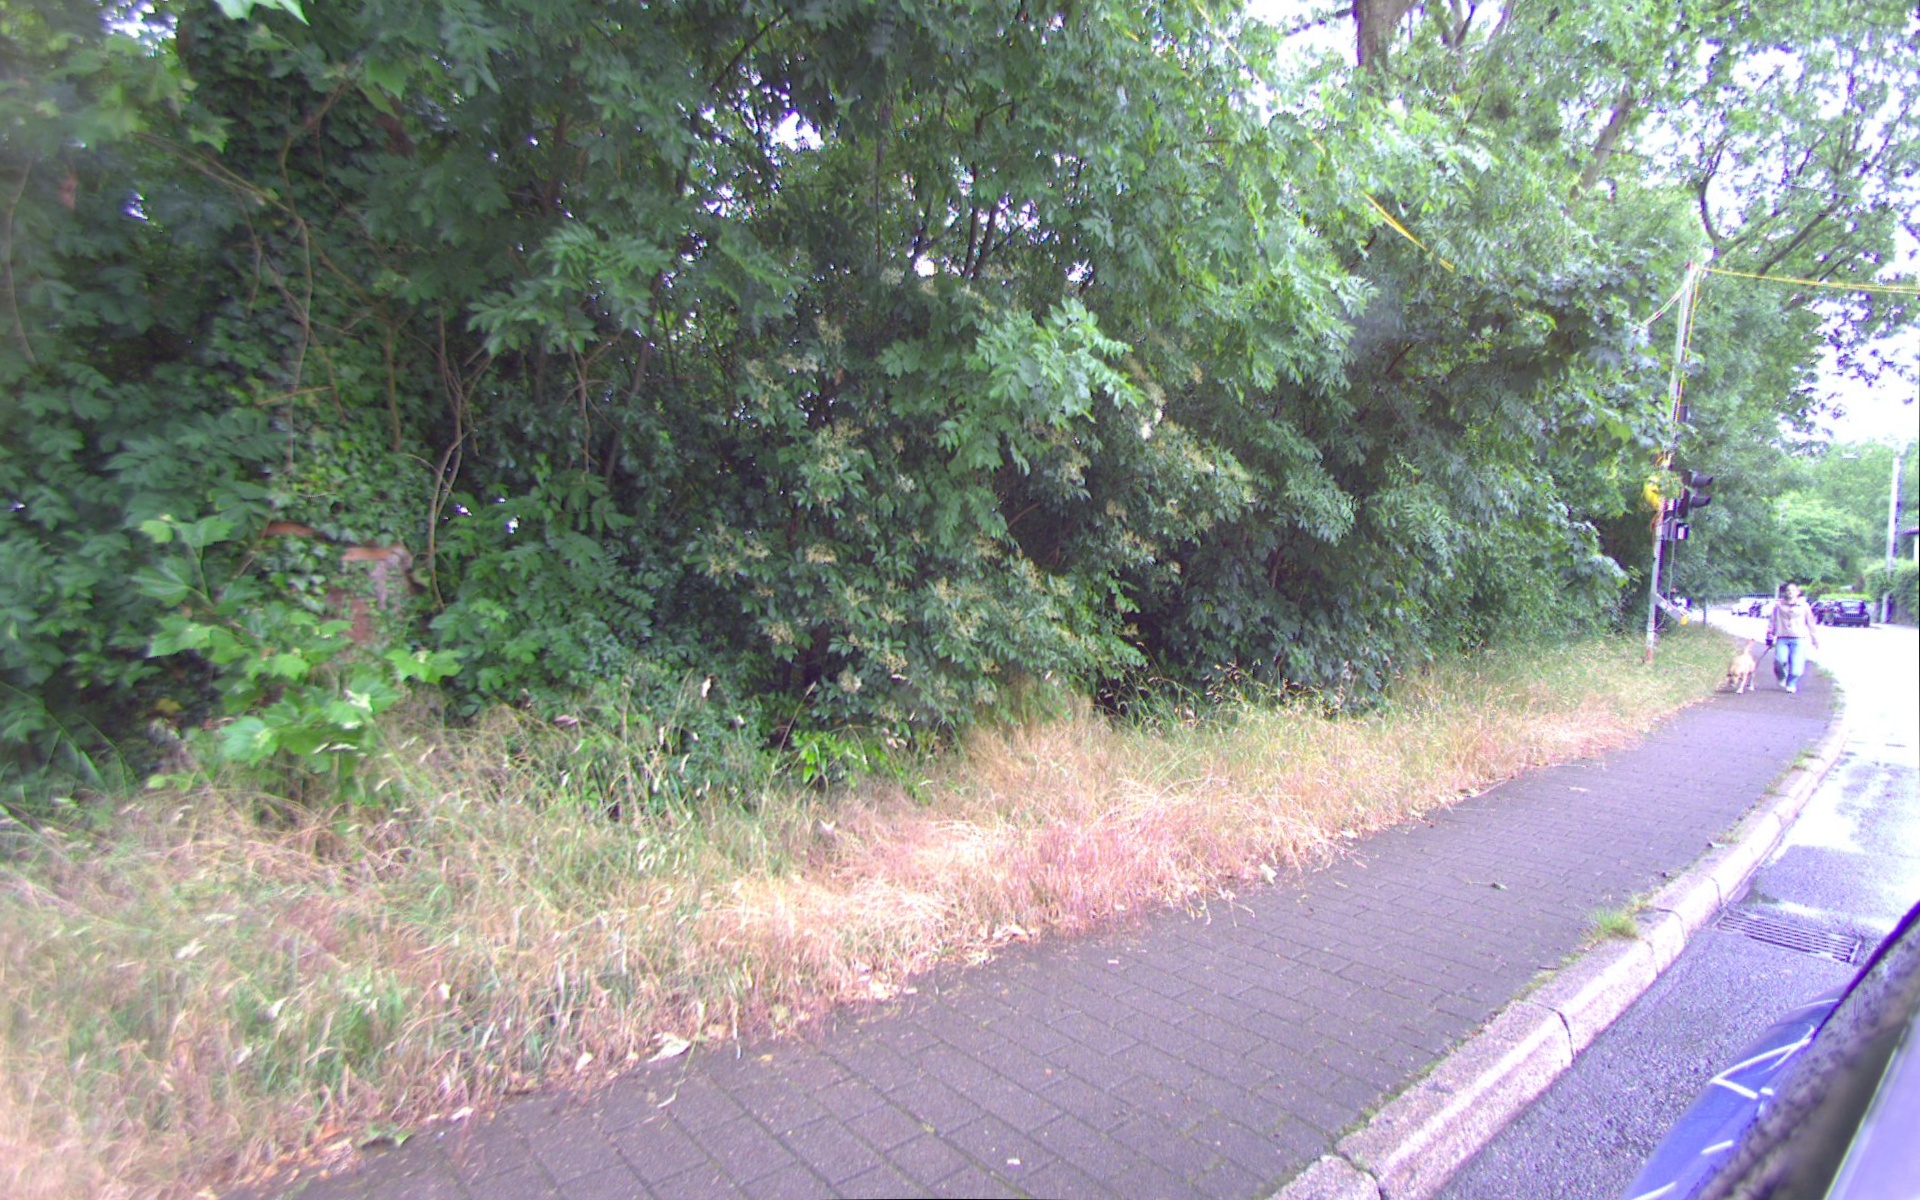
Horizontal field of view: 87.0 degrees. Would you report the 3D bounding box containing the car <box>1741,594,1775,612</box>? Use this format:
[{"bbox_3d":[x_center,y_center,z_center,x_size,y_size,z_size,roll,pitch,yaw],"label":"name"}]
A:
[{"bbox_3d":[64.932,0.215,82.372,1.676,1.445,3.734,1,1,31],"label":"car"}]

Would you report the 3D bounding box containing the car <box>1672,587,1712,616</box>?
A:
[{"bbox_3d":[51.221,0.104,70.898,2.089,1.943,5.028,1,1,34],"label":"car"}]

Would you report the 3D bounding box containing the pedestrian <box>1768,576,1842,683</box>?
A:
[{"bbox_3d":[12.481,0.414,14.950,0.771,1.518,0.734,0,0,-42],"label":"pedestrian"}]

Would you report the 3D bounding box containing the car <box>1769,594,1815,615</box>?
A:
[{"bbox_3d":[60.739,0.293,73.919,2.055,1.504,4.509,1,1,33],"label":"car"}]

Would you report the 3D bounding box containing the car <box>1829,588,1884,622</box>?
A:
[{"bbox_3d":[51.052,0.278,57.706,1.869,1.848,4.075,1,1,35],"label":"car"}]
